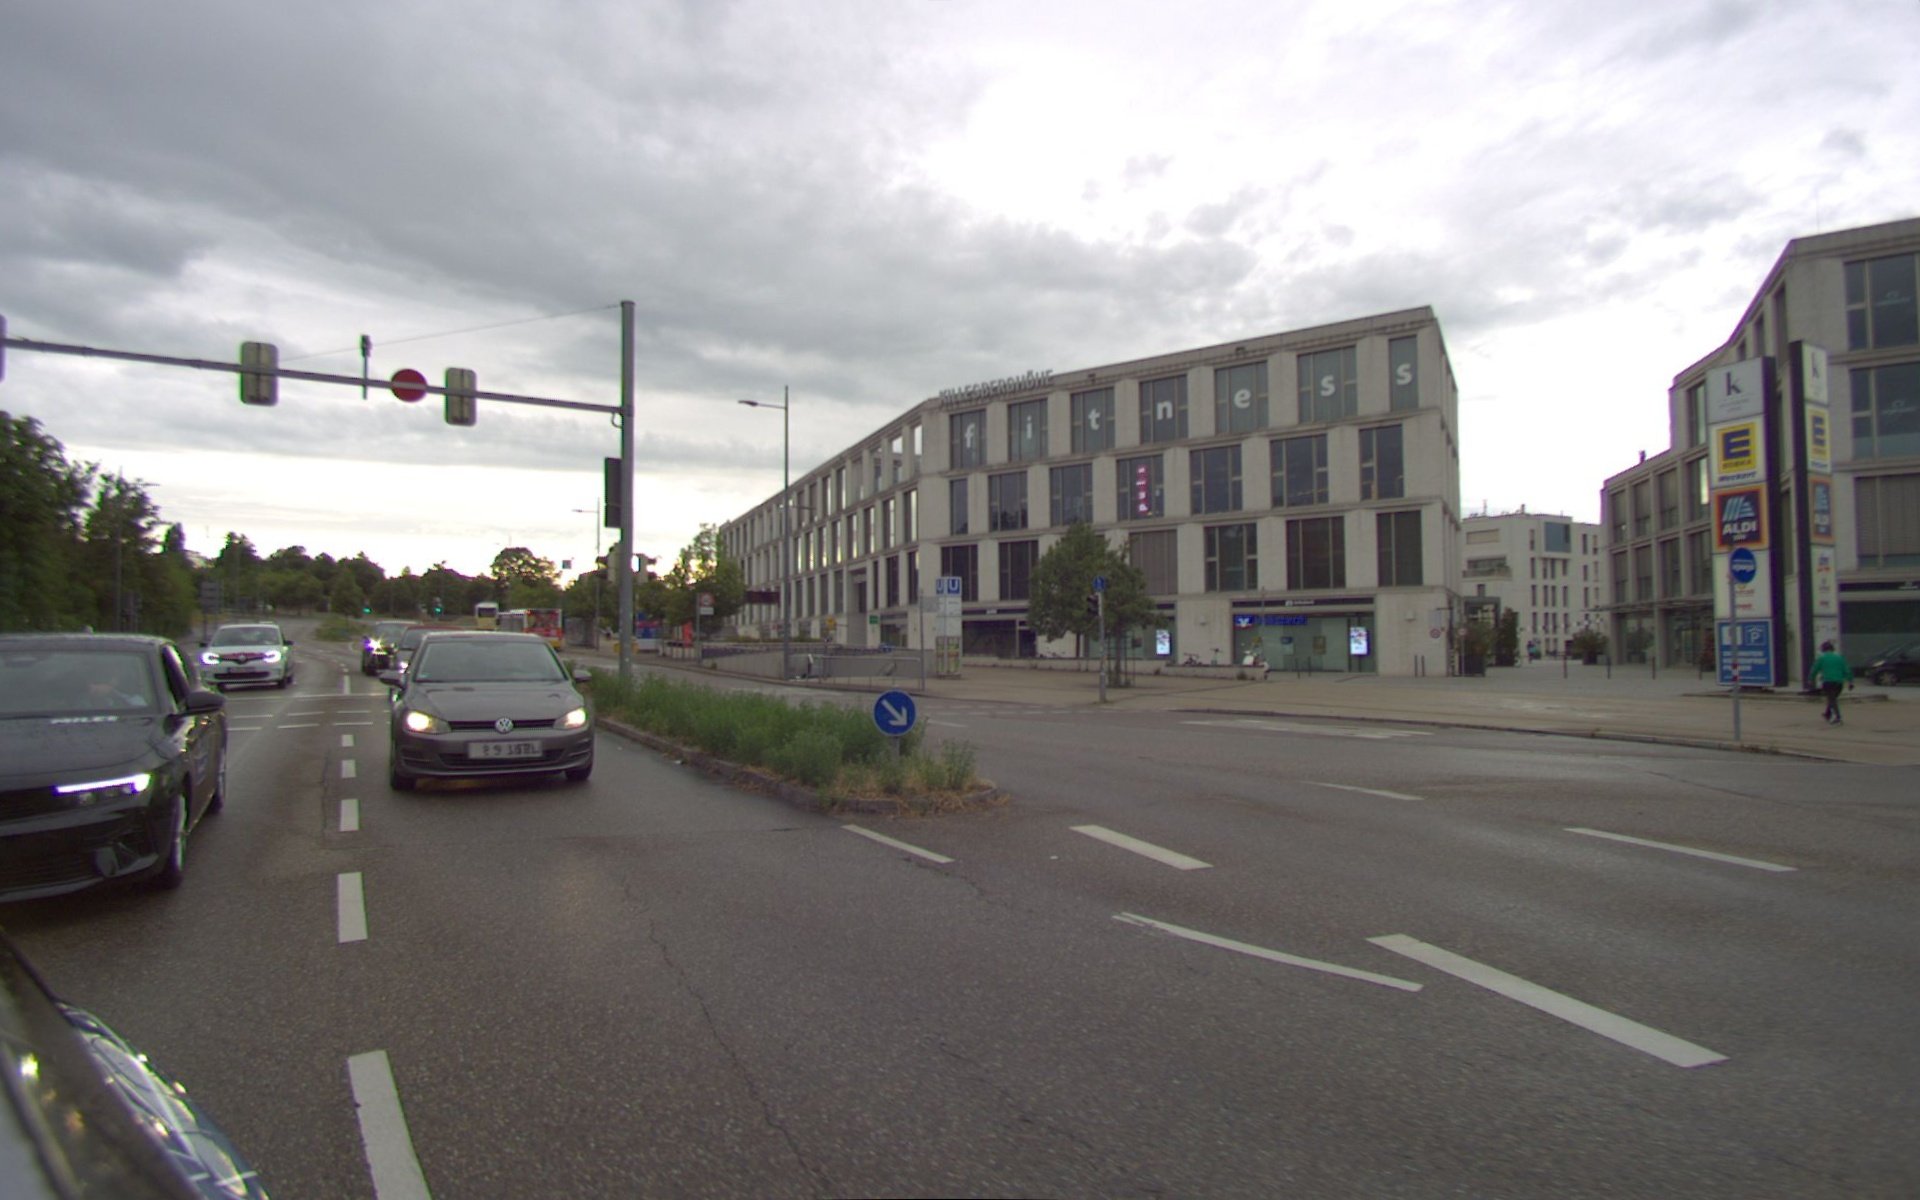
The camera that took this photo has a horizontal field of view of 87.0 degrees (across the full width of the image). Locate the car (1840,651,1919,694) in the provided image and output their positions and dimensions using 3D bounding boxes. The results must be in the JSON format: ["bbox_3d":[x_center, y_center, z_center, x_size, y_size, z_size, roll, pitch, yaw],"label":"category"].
[{"bbox_3d":[32.374,2.464,34.581,3.289,1.387,1.549,-1,-3,35],"label":"car"}]

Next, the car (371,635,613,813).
[{"bbox_3d":[-5.014,1.110,10.526,1.873,1.450,4.012,2,-3,-30],"label":"car"}]

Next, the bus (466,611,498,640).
[{"bbox_3d":[-59.931,3.237,126.731,2.769,3.543,9.169,2,-2,-31],"label":"bus"}]

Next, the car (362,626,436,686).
[{"bbox_3d":[-17.851,1.738,32.112,1.874,1.785,4.012,2,-3,-31],"label":"car"}]

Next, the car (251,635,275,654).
[{"bbox_3d":[-76.068,4.824,110.428,1.967,2.029,4.009,3,-4,-36],"label":"car"}]

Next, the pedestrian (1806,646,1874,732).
[{"bbox_3d":[17.921,1.796,20.627,0.741,1.699,0.681,0,-2,1],"label":"pedestrian"}]

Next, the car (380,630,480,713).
[{"bbox_3d":[-11.065,1.413,21.017,1.643,1.541,3.668,2,-2,-30],"label":"car"}]

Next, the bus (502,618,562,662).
[{"bbox_3d":[-31.898,2.933,75.221,2.832,3.012,10.036,2,-2,-30],"label":"bus"}]

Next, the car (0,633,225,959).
[{"bbox_3d":[-5.939,0.976,6.474,1.775,1.441,4.532,1,-1,-33],"label":"car"}]

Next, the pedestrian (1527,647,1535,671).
[{"bbox_3d":[43.207,4.460,76.535,0.460,1.859,0.481,-1,-3,35],"label":"pedestrian"}]

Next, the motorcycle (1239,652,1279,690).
[{"bbox_3d":[11.486,2.722,38.901,1.726,1.413,0.529,1,-2,-36],"label":"motorcycle"}]

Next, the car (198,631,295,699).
[{"bbox_3d":[-17.246,1.528,24.597,1.618,1.532,3.590,2,-3,-31],"label":"car"}]
